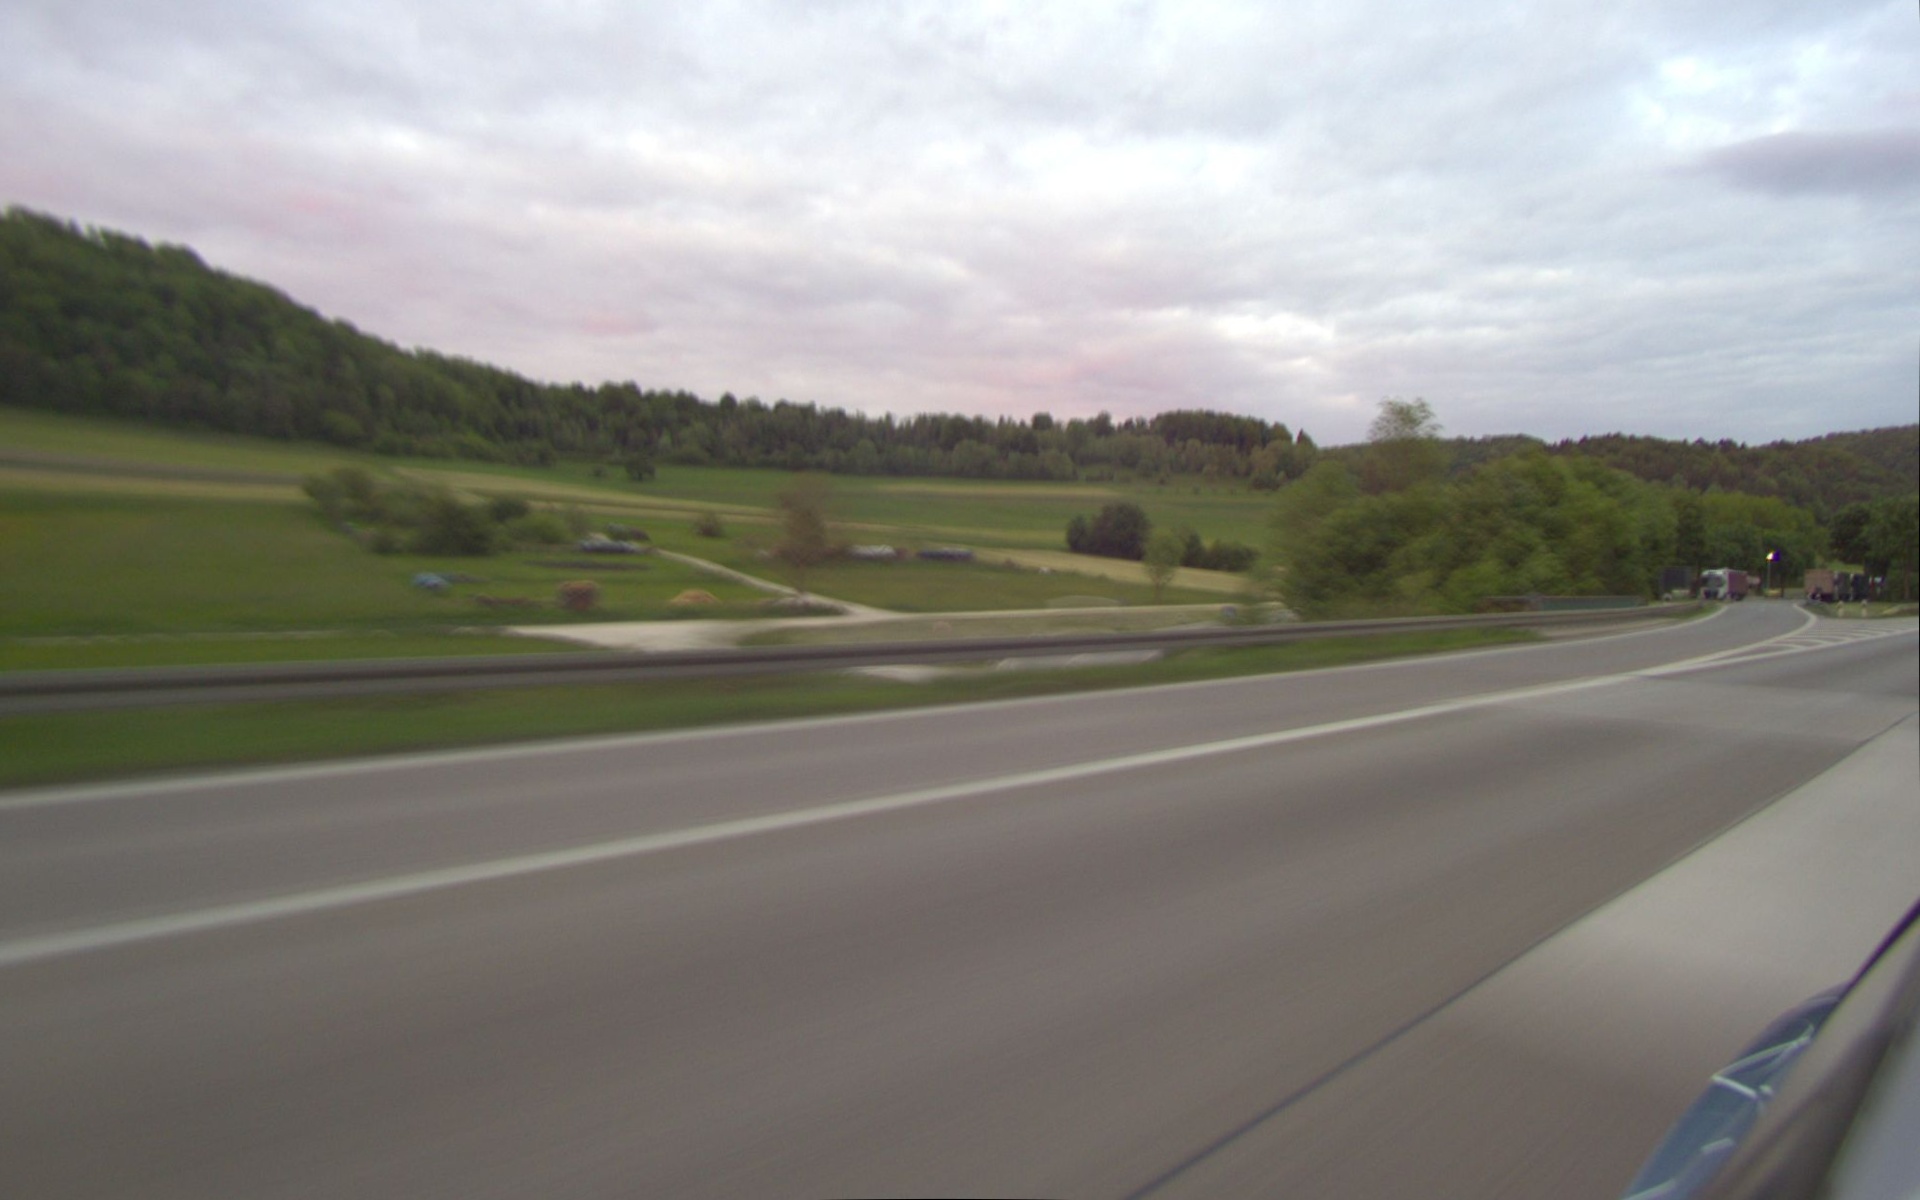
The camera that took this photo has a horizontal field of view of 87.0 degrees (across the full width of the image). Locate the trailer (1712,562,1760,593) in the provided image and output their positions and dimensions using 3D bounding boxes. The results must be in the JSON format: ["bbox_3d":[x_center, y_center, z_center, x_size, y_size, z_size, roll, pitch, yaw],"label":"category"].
[{"bbox_3d":[104.535,-2.980,136.214,13.349,3.964,2.842,-1,3,-43],"label":"trailer"}]

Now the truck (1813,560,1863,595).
[{"bbox_3d":[116.285,-2.976,133.819,3.776,4.281,19.216,3,3,44],"label":"truck"}]

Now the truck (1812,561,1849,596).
[{"bbox_3d":[102.885,-2.534,119.538,2.838,3.964,11.805,3,3,42],"label":"truck"}]

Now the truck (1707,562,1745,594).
[{"bbox_3d":[99.649,-2.896,131.634,6.277,3.964,2.842,-1,2,-43],"label":"truck"}]

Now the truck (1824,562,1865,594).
[{"bbox_3d":[123.067,-3.109,140.754,3.774,4.281,8.675,3,3,45],"label":"truck"}]

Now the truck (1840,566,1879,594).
[{"bbox_3d":[134.163,-2.966,150.852,11.792,3.964,3.356,-1,3,-44],"label":"truck"}]
